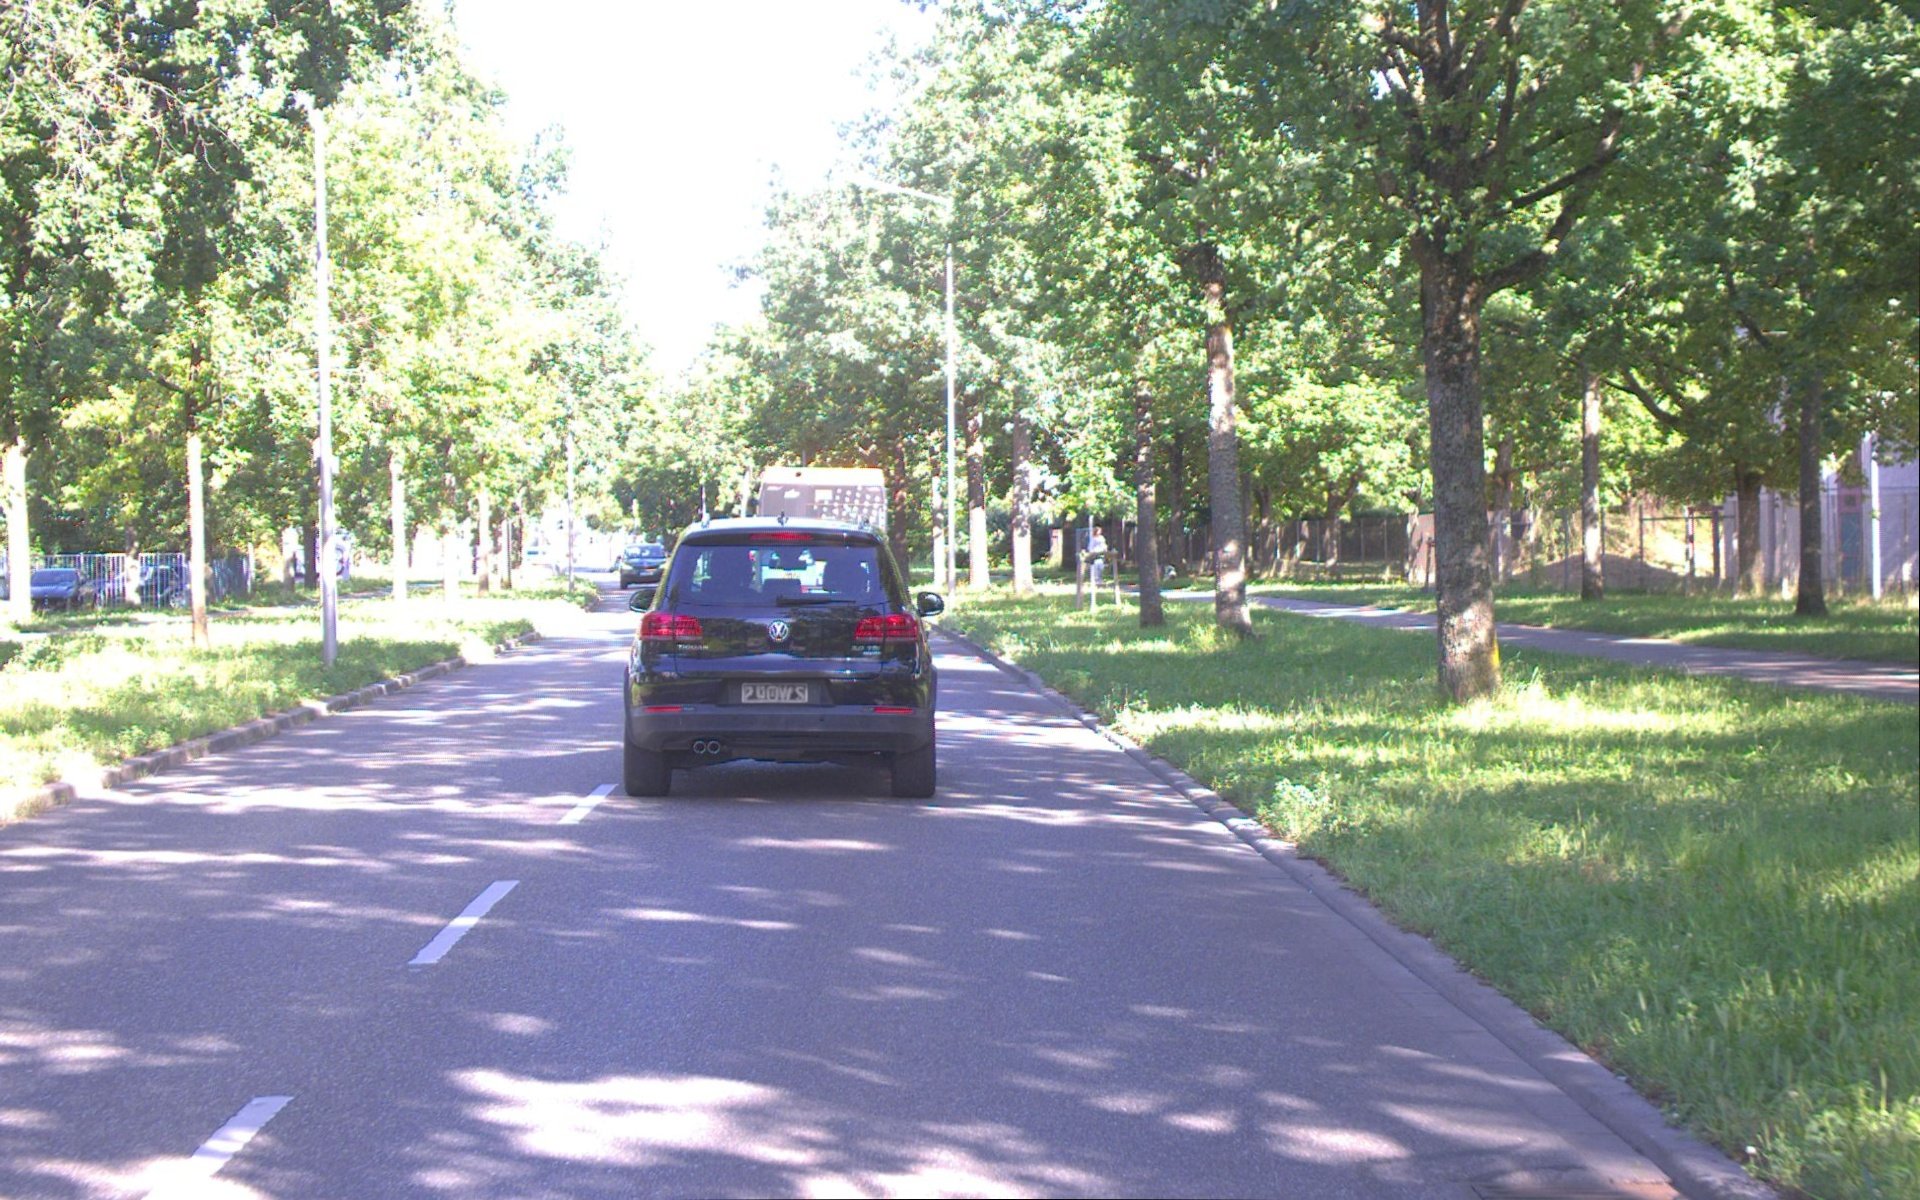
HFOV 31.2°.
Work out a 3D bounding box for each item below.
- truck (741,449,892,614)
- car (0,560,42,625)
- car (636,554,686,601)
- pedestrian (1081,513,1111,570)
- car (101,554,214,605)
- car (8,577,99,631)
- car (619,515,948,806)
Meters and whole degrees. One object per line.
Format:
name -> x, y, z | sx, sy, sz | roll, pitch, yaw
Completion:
truck -> -3.094, -1.408, 72.081 | 2.511, 3.232, 8.154 | -1, 1, -7
car -> -22.513, -0.167, 78.555 | 2.568, 1.465, 1.425 | -1, 1, 13
car -> -11.163, -0.862, 128.446 | 1.767, 1.666, 4.200 | -2, 1, -4
pedestrian -> 3.938, -1.687, 99.347 | 0.608, 1.625, 0.719 | -3, 2, -15
car -> -29.583, -0.755, 126.863 | 3.986, 1.795, 2.001 | 1, 1, -12
car -> -28.467, 0.103, 108.058 | 1.993, 1.592, 5.016 | 1, 1, -6
car -> -1.190, 0.323, 21.446 | 1.782, 1.628, 4.001 | 1, 1, -6
